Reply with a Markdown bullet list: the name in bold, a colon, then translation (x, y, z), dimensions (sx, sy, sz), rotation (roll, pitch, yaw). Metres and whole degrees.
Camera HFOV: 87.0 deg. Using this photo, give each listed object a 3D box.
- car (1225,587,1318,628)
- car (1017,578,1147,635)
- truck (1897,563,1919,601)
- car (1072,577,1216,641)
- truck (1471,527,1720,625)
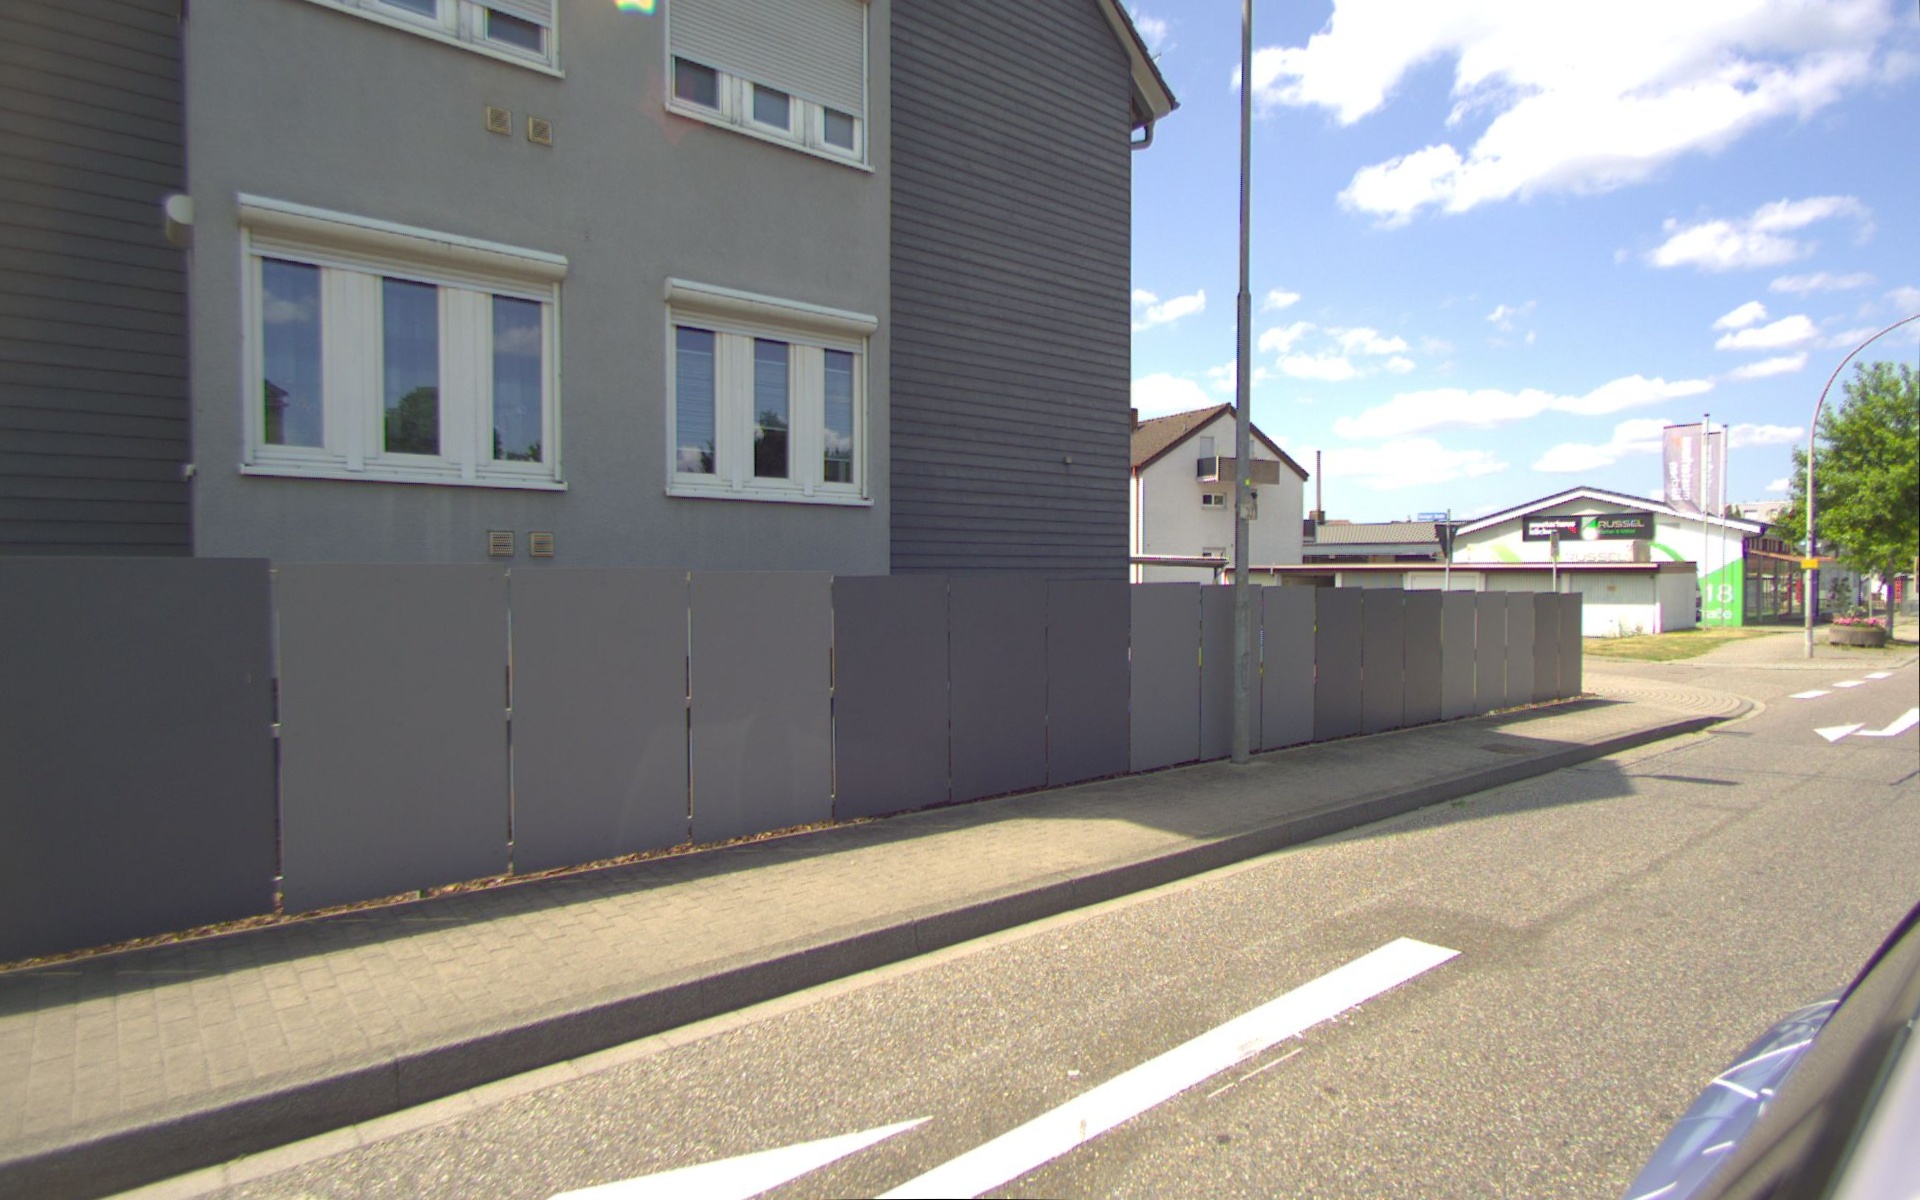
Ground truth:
- **car**: translation (12.337, 0.263, 39.978), dimensions (4.060, 1.522, 1.678), rotation (-1, 1, -41)
- **car**: translation (3.740, 0.214, 30.729), dimensions (3.784, 1.607, 1.741), rotation (2, 0, -40)
- **truck**: translation (72.545, -1.351, 76.218), dimensions (2.571, 2.795, 6.240), rotation (3, 3, 41)
- **car**: translation (5.285, 0.271, 28.786), dimensions (4.139, 1.669, 1.741), rotation (2, 0, -40)
- **truck**: translation (25.582, -0.949, 41.170), dimensions (2.633, 3.617, 8.180), rotation (-2, 2, -42)
